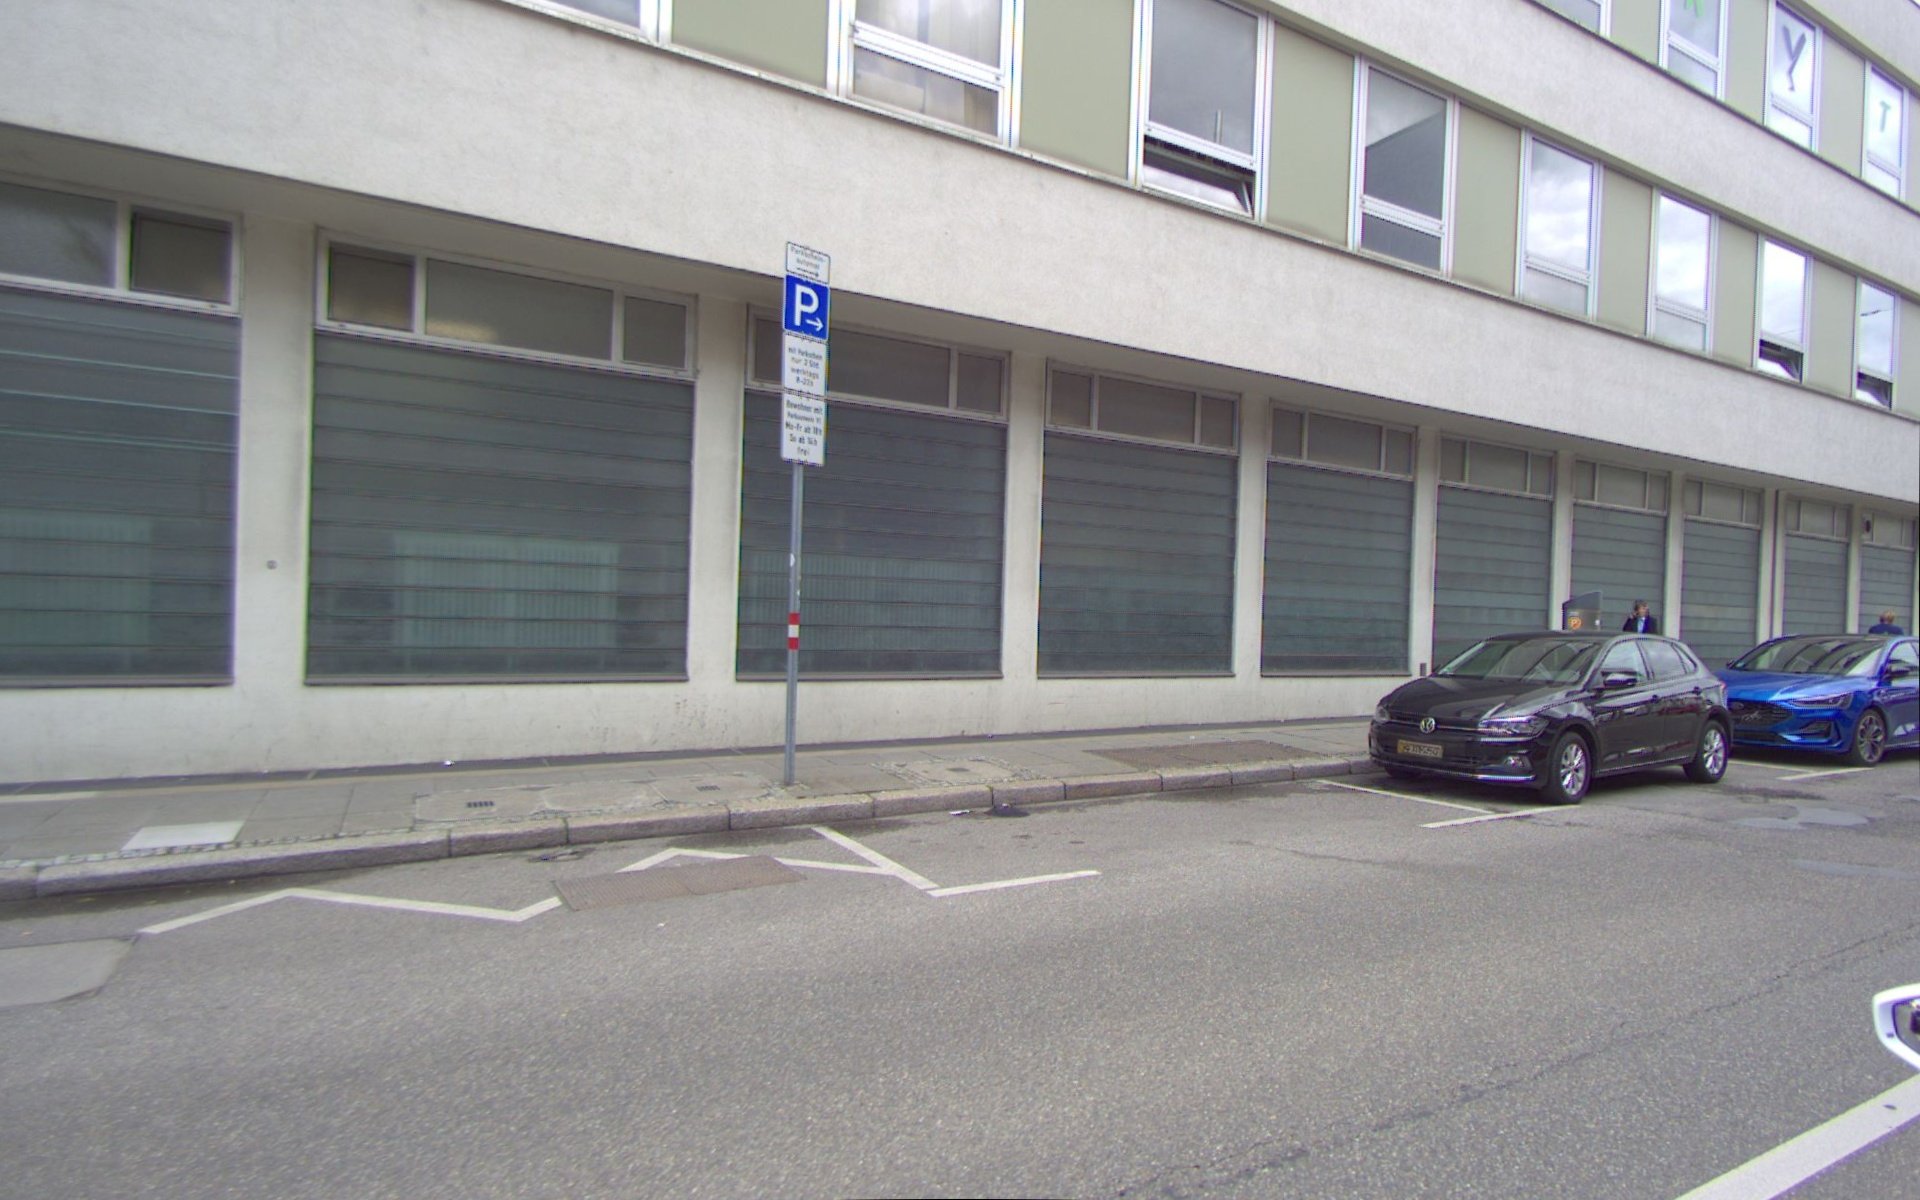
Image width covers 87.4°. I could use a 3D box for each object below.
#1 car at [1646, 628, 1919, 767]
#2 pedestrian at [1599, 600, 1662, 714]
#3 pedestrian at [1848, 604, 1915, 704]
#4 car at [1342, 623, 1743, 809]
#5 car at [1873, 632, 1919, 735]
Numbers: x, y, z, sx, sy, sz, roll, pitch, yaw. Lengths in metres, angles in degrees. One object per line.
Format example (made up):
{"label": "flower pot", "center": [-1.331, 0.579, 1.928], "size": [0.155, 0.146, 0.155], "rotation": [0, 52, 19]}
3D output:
{"label": "car", "center": [10.594, 1.096, 12.299], "size": [4.208, 1.444, 1.809], "rotation": [1, -1, -26]}
{"label": "pedestrian", "center": [10.564, 0.885, 15.824], "size": [0.642, 1.741, 0.586], "rotation": [1, 0, -31]}
{"label": "pedestrian", "center": [16.657, 0.957, 18.158], "size": [1.043, 1.741, 0.586], "rotation": [1, 0, -31]}
{"label": "car", "center": [5.627, 0.970, 9.612], "size": [3.826, 1.444, 1.708], "rotation": [2, -2, -31]}
{"label": "car", "center": [15.771, 1.235, 15.033], "size": [4.494, 1.453, 1.664], "rotation": [1, -1, -27]}
